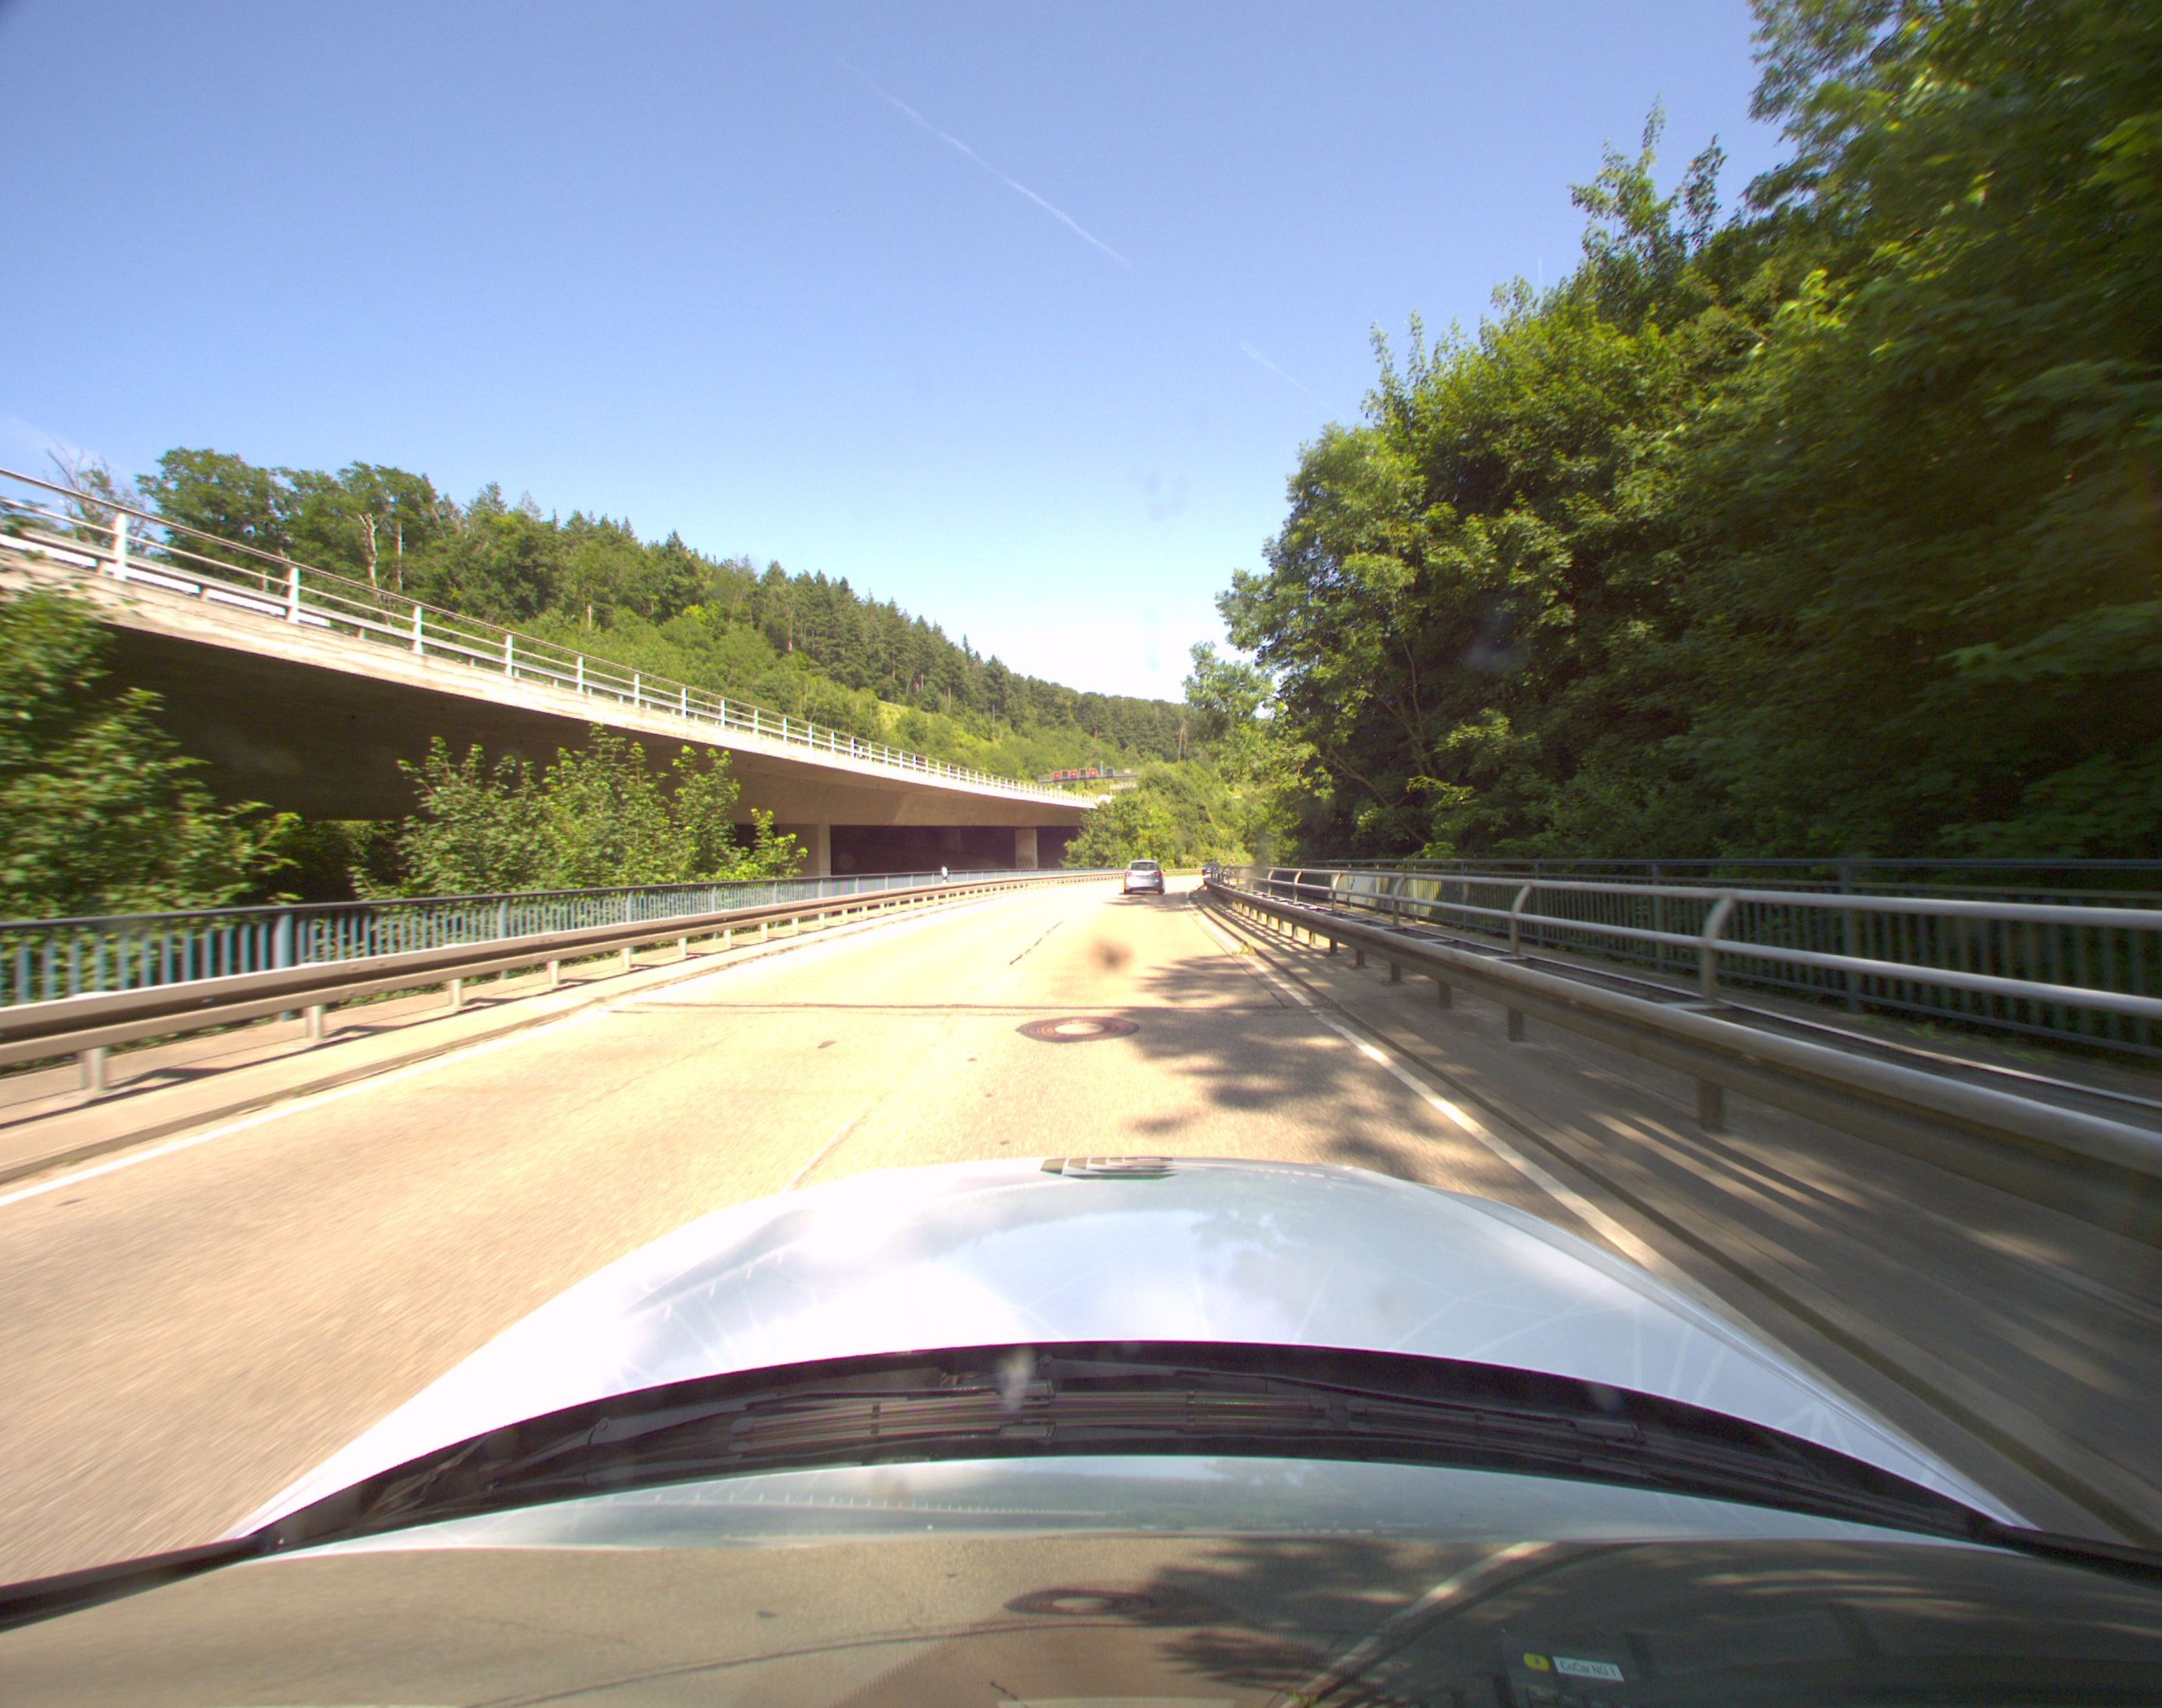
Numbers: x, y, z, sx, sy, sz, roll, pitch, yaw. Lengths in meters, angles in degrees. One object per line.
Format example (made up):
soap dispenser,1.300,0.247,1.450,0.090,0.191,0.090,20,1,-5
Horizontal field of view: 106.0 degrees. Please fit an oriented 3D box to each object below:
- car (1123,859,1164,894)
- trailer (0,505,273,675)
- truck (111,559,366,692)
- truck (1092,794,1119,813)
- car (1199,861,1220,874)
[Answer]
car,2.912,1.026,37.359,1.742,1.520,4.166,0,-1,6
trailer,-27.792,-7.133,19.919,2.384,2.878,12.959,0,1,4
truck,-27.192,-7.259,26.685,2.384,2.878,5.473,0,1,4
truck,5.200,-10.444,169.771,3.345,3.354,10.217,0,1,14
car,15.973,1.614,101.079,1.883,1.581,4.575,0,-1,18
